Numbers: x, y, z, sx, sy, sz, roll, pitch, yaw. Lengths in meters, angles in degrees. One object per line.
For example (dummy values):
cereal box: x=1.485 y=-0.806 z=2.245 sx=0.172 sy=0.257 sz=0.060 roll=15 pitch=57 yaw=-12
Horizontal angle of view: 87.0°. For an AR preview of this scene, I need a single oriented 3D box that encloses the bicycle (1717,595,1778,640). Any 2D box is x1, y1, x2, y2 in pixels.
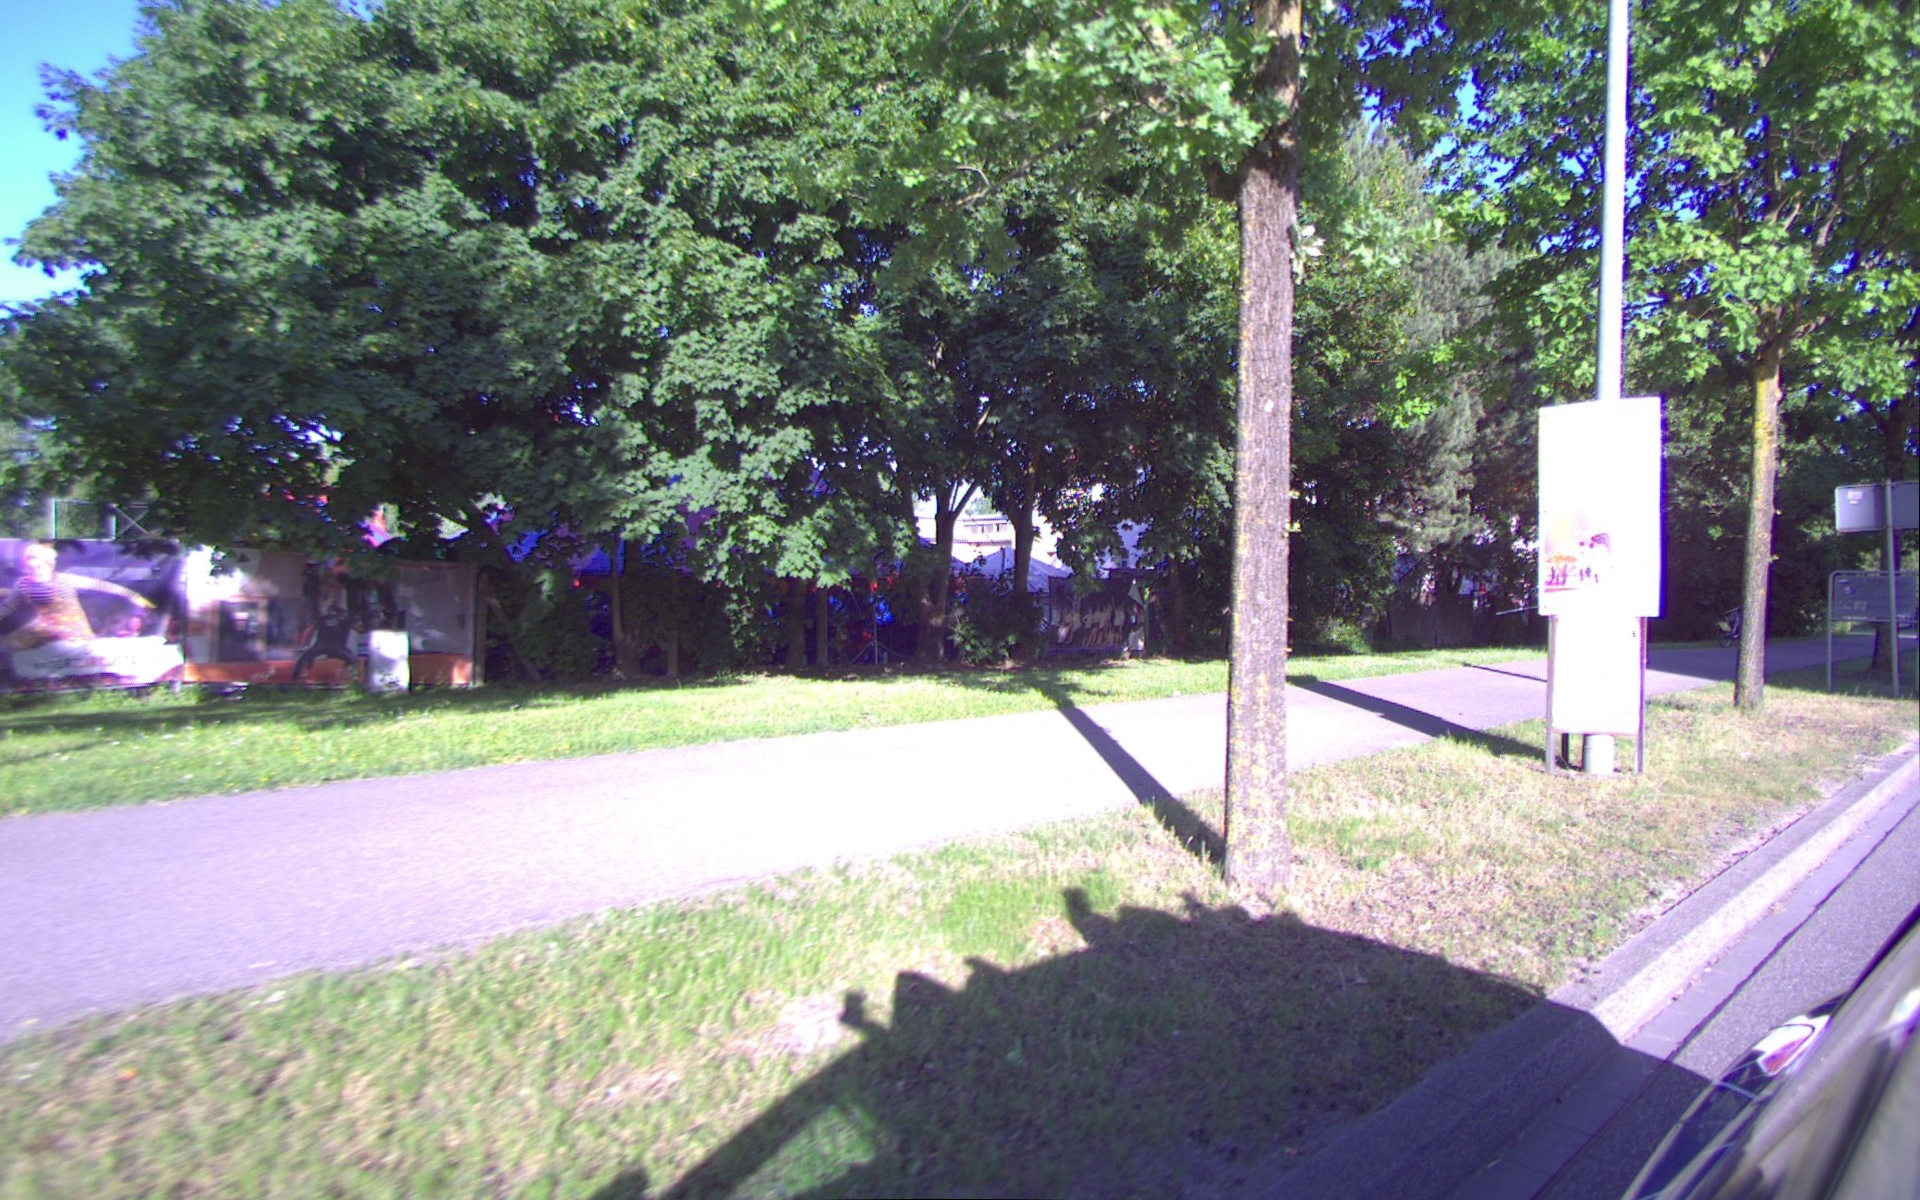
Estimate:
bicycle: x=21.280 y=0.466 z=27.351 sx=1.675 sy=1.145 sz=0.777 roll=1 pitch=1 yaw=-33
